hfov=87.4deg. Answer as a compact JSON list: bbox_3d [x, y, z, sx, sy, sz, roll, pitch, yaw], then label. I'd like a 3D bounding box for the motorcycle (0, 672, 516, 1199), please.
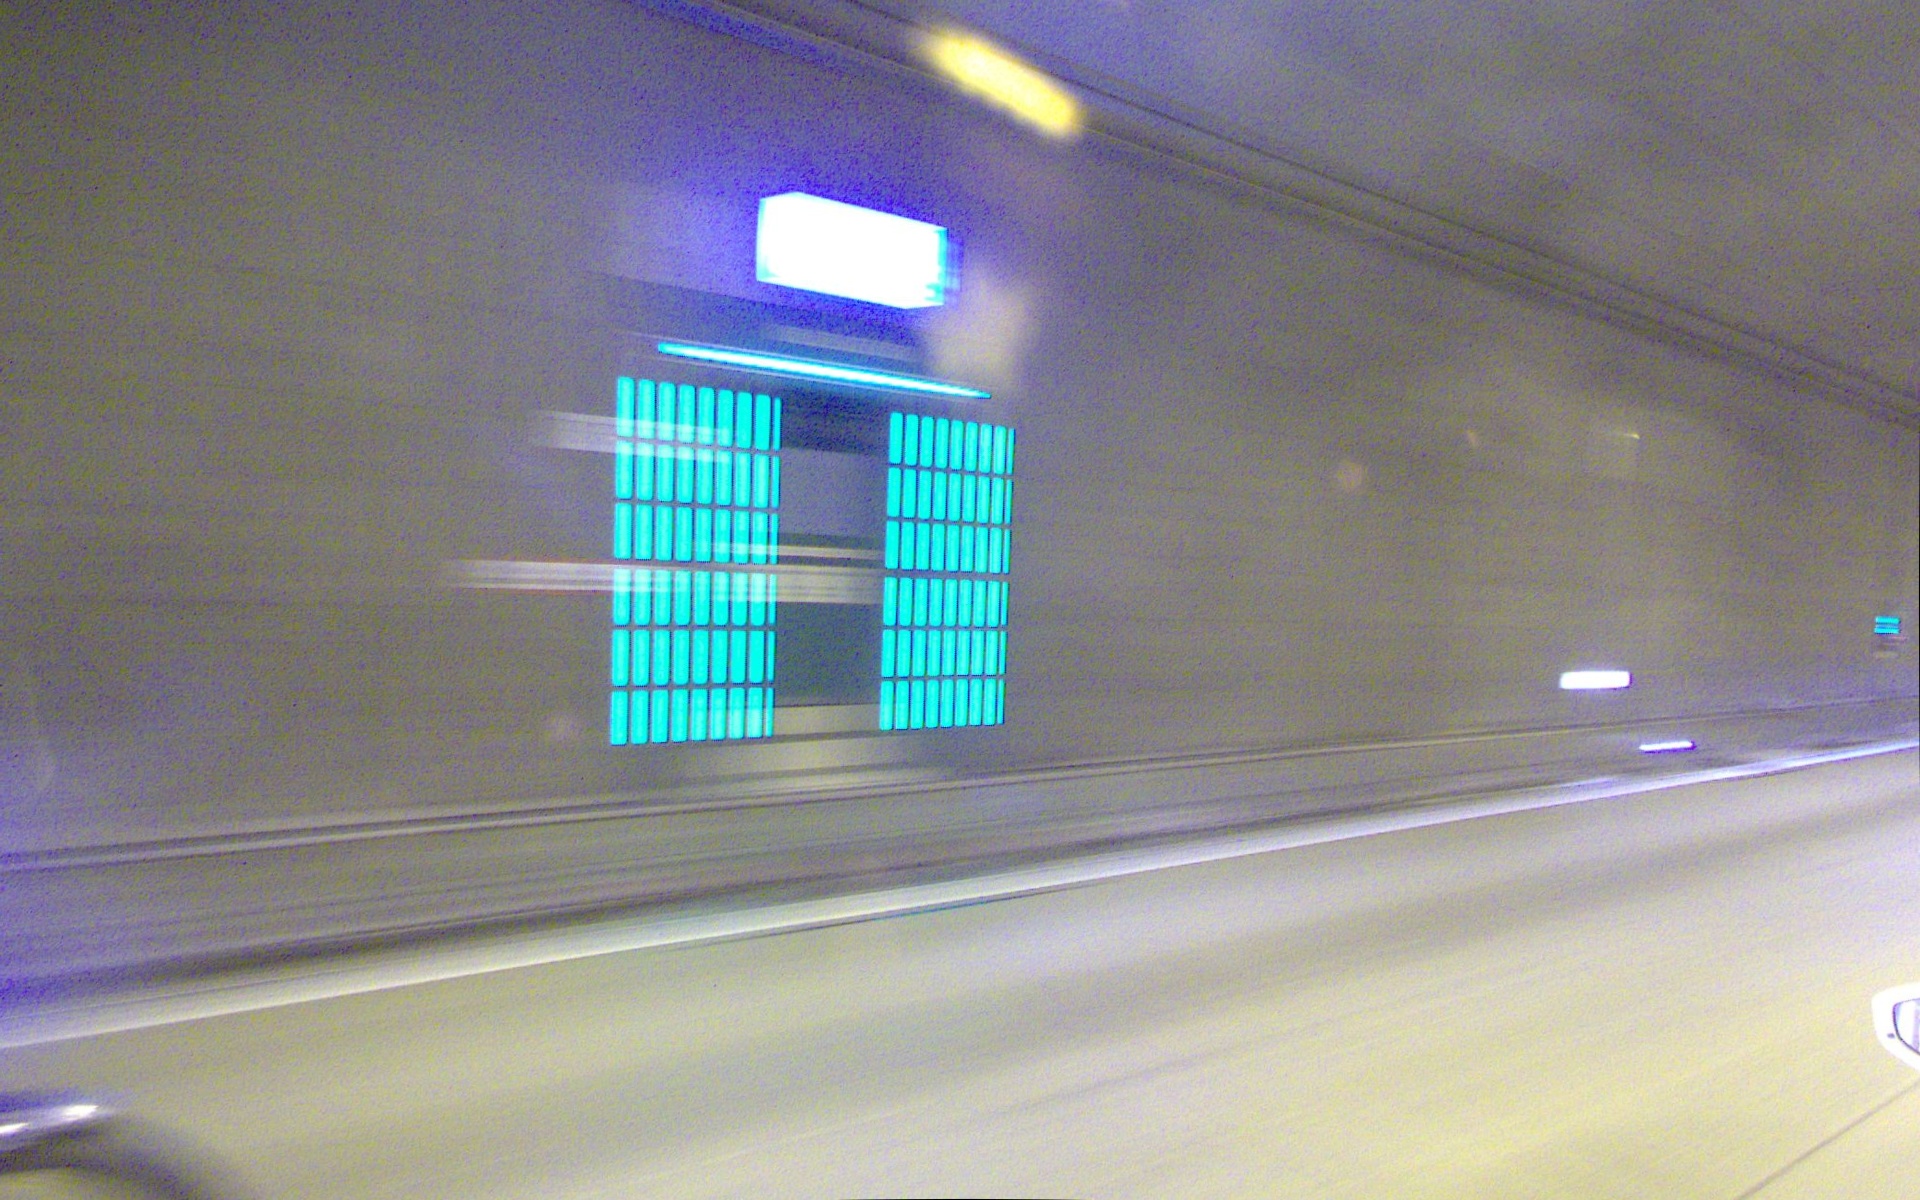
[{"bbox_3d":[-1.929,0.763,1.070,2.575,1.262,0.841,1,0,-31],"label":"motorcycle"}]
